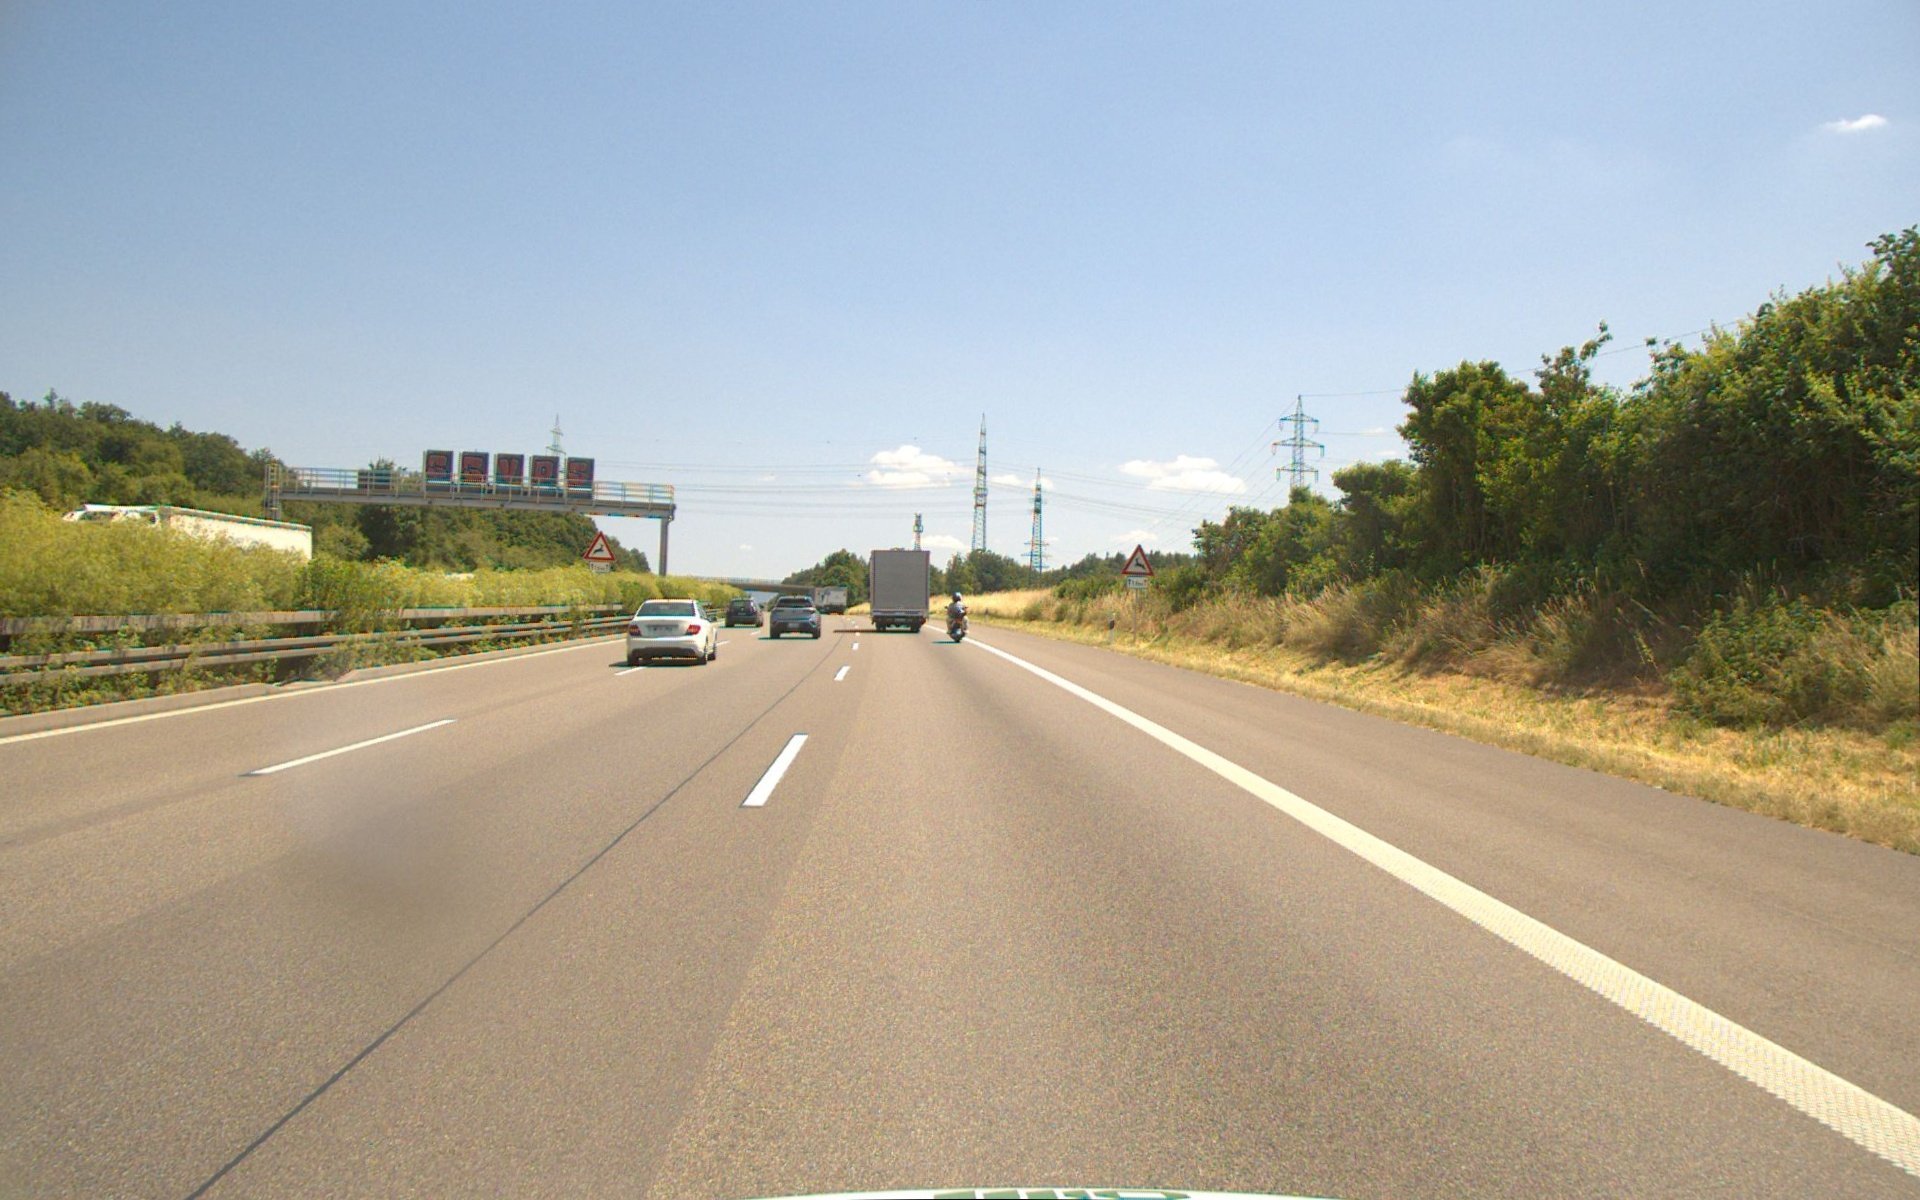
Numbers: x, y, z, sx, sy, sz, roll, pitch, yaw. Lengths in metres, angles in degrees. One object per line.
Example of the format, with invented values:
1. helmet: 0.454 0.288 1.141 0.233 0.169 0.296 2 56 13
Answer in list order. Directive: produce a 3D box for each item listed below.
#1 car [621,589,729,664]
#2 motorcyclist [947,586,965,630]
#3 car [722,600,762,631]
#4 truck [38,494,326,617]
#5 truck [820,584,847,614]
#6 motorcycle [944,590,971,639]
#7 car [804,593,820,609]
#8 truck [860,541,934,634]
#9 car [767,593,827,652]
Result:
1. car: -6.344 0.553 37.188 1.782 1.567 3.914 0 1 -1
2. motorcyclist: -0.144 0.267 56.097 0.561 1.505 0.700 0 0 -4
3. car: -11.139 0.777 84.754 1.721 1.454 3.998 0 1 -3
4. truck: -26.408 -1.426 57.724 2.749 3.610 16.828 -1 1 -3
5. truck: -16.806 -0.110 219.705 3.416 3.981 7.283 0 0 -4
6. motorcycle: -0.099 0.493 56.152 0.793 1.635 1.781 0 0 -4
7. car: -18.378 0.121 205.236 1.864 1.959 3.997 0 1 -4
8. truck: -2.996 -0.534 75.680 3.157 3.993 9.054 0 0 -4
9. car: -5.907 0.790 60.345 1.954 2.049 3.998 0 1 -3
